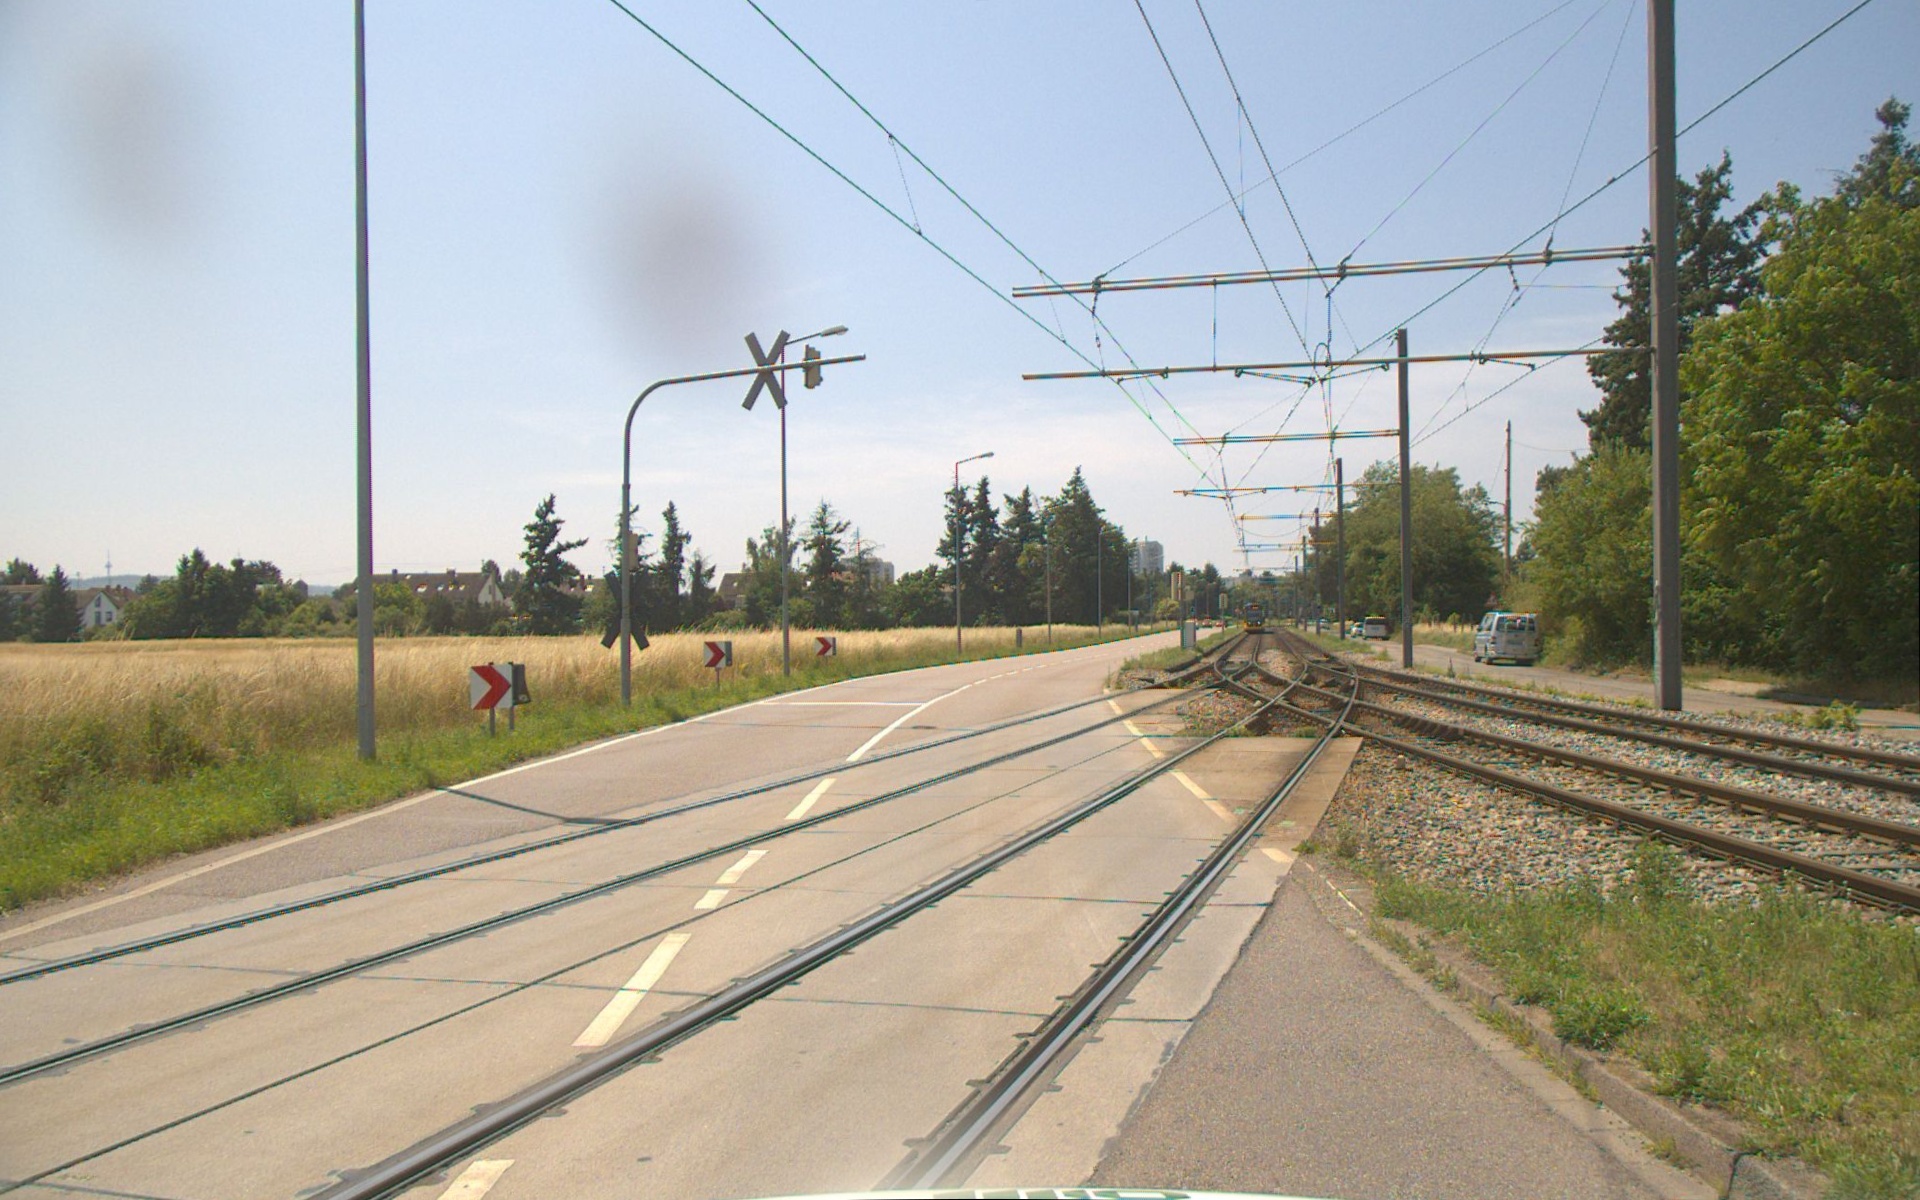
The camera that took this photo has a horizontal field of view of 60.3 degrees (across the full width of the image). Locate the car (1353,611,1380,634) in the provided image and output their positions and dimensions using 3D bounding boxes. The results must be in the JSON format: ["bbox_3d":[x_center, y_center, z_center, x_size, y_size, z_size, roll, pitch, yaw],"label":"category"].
[{"bbox_3d":[34.608,1.966,140.926,1.951,1.834,4.798,-1,-2,10],"label":"car"}]

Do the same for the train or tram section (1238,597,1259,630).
[{"bbox_3d":[35.573,1.769,203.864,2.377,3.832,11.567,-1,-2,10],"label":"train or tram section"}]

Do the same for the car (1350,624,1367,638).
[{"bbox_3d":[38.549,3.002,160.105,1.397,1.331,3.468,-1,-2,10],"label":"car"}]

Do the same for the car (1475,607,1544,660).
[{"bbox_3d":[21.132,1.300,63.784,1.993,1.915,5.072,-1,-2,12],"label":"car"}]

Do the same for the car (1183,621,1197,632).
[{"bbox_3d":[32.485,3.788,233.488,1.795,1.493,4.681,-1,-2,10],"label":"car"}]
